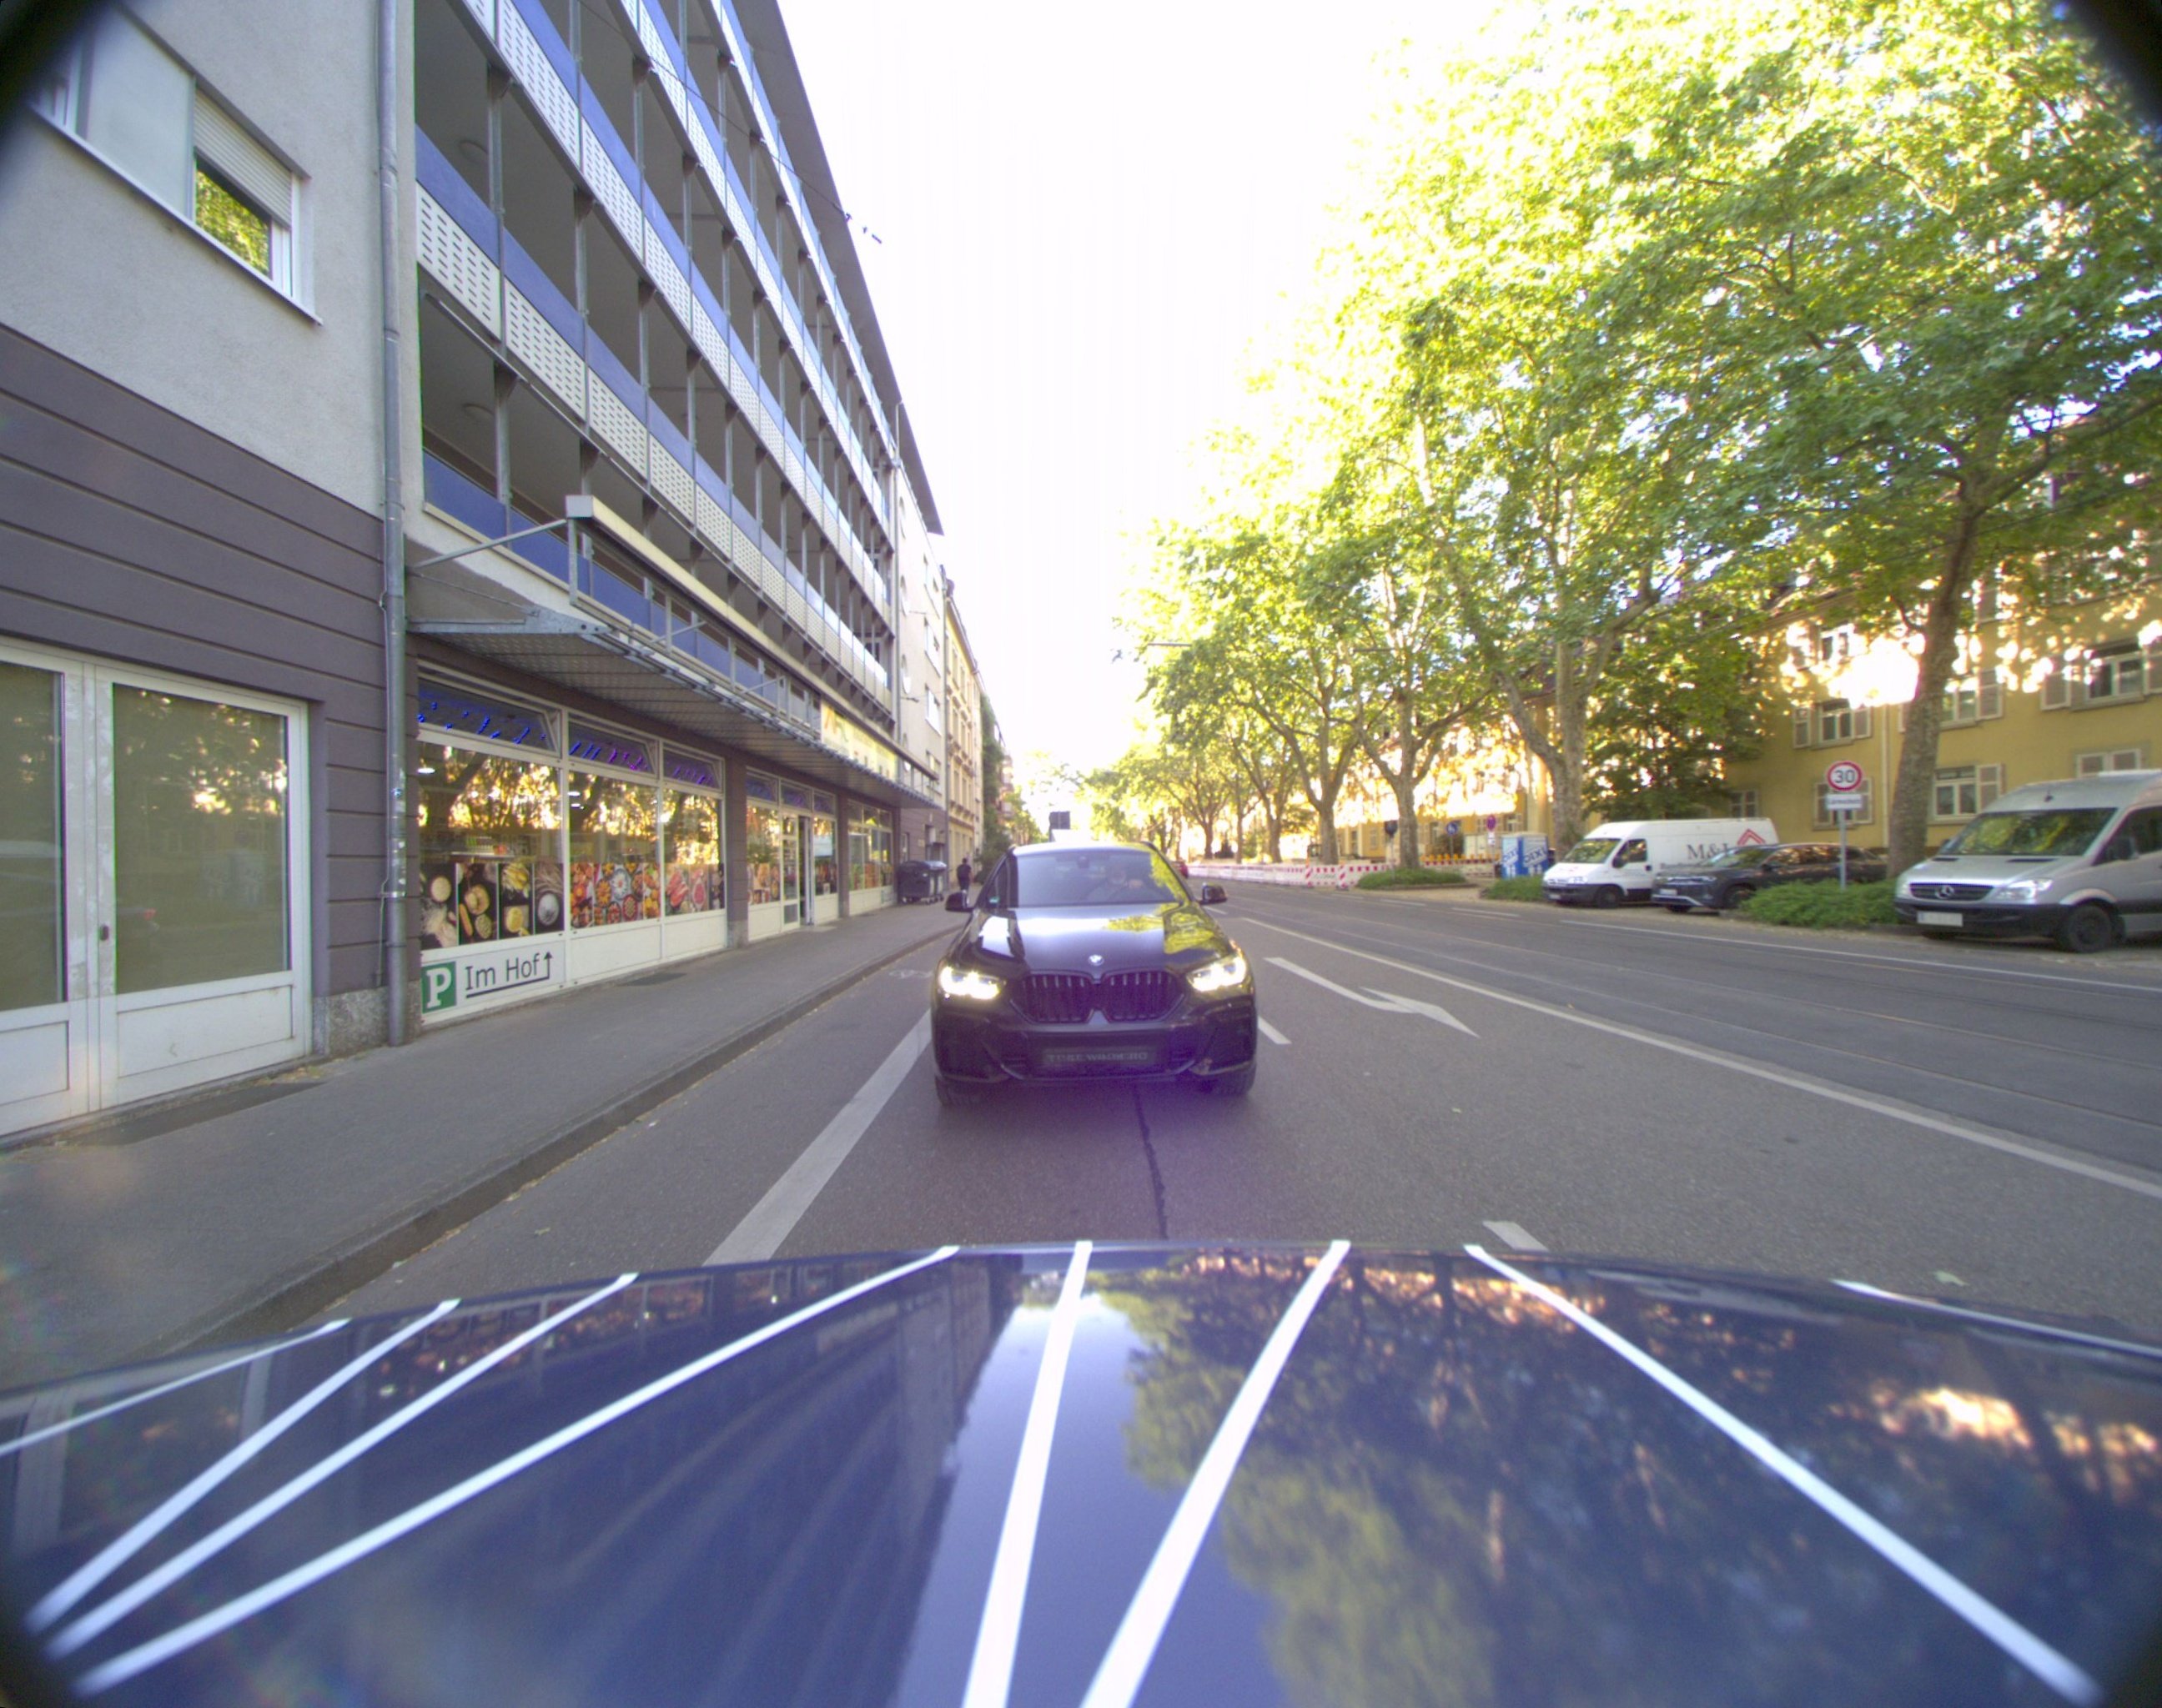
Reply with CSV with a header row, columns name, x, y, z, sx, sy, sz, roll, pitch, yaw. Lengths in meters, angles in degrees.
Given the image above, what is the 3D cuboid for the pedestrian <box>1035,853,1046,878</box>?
name,x,y,z,sx,sy,sz,roll,pitch,yaw
pedestrian,-3.084,0.863,57.619,0.733,1.875,0.664,-2,1,-1

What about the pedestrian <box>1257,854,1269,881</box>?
name,x,y,z,sx,sy,sz,roll,pitch,yaw
pedestrian,11.978,0.897,50.041,0.651,1.735,0.584,-2,1,20

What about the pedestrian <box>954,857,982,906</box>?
name,x,y,z,sx,sy,sz,roll,pitch,yaw
pedestrian,-3.743,0.891,25.152,0.864,1.582,0.622,-1,0,-5

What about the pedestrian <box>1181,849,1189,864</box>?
name,x,y,z,sx,sy,sz,roll,pitch,yaw
pedestrian,13.101,0.347,95.835,0.666,1.875,0.731,-3,1,-33

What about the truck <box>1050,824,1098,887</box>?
name,x,y,z,sx,sy,sz,roll,pitch,yaw
truck,-0.318,0.121,42.173,2.394,3.170,6.587,-1,0,1

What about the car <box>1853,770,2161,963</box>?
name,x,y,z,sx,sy,sz,roll,pitch,yaw
car,15.982,0.131,11.864,5.666,2.666,2.223,-2,0,-2

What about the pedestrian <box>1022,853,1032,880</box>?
name,x,y,z,sx,sy,sz,roll,pitch,yaw
pedestrian,-3.778,0.872,52.819,0.600,1.875,0.581,-2,1,-1

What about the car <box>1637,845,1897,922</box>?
name,x,y,z,sx,sy,sz,roll,pitch,yaw
car,16.075,0.660,17.946,4.627,1.642,1.774,-1,0,-2

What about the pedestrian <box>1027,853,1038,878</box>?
name,x,y,z,sx,sy,sz,roll,pitch,yaw
pedestrian,-3.753,0.888,58.372,0.733,1.875,0.664,-2,1,-1

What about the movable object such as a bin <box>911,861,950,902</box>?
name,x,y,z,sx,sy,sz,roll,pitch,yaw
movable object such as a bin,-5.286,0.952,26.690,1.158,1.418,0.939,-1,0,1

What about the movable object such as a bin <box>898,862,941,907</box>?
name,x,y,z,sx,sy,sz,roll,pitch,yaw
movable object such as a bin,-5.232,0.978,24.652,1.158,1.418,0.939,-1,0,1

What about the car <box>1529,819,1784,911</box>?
name,x,y,z,sx,sy,sz,roll,pitch,yaw
car,15.842,0.292,21.153,5.404,2.362,2.223,-1,0,0

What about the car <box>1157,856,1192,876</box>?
name,x,y,z,sx,sy,sz,roll,pitch,yaw
car,7.446,0.932,60.802,2.022,1.556,4.490,-1,0,-3

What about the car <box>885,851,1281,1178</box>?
name,x,y,z,sx,sy,sz,roll,pitch,yaw
car,0.039,0.828,6.028,1.998,1.643,4.295,-1,0,1
